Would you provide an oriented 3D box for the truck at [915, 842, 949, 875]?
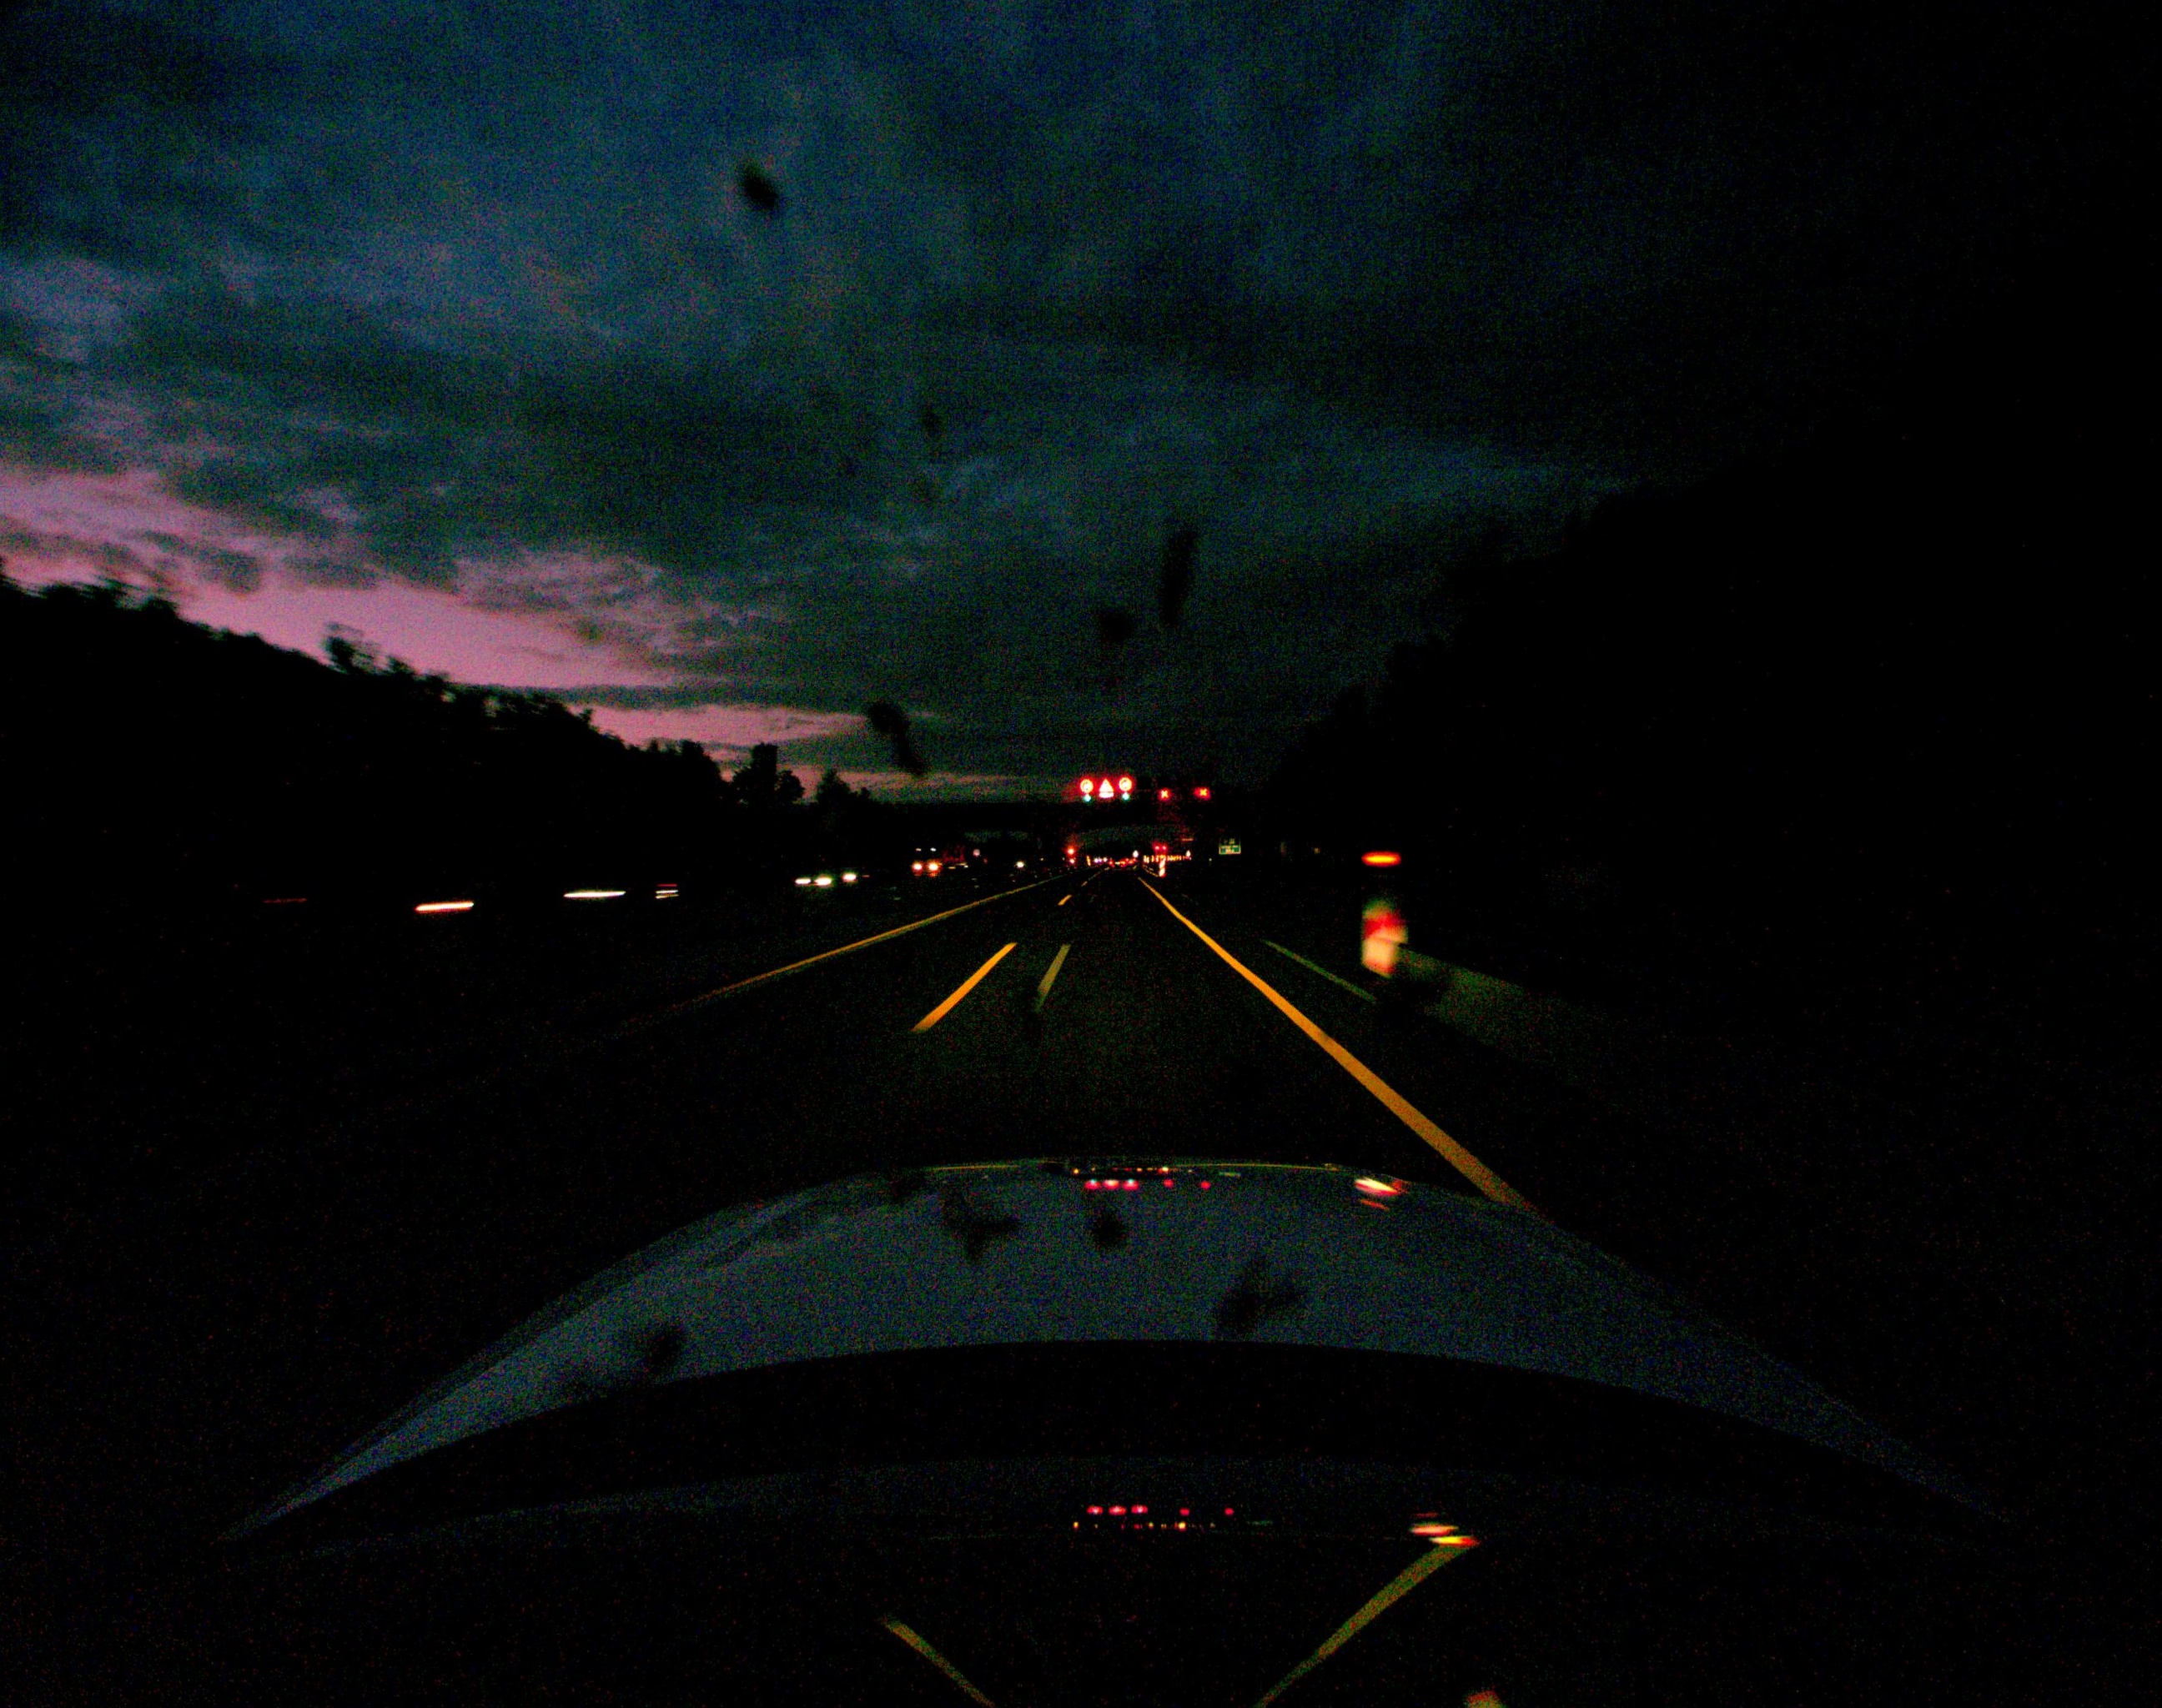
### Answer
[{"bbox_3d":[-19.648,0.581,107.887,2.764,4.171,6.394,0,-1,5],"label":"truck"}]

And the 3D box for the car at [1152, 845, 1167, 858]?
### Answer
[{"bbox_3d":[22.685,-0.708,235.695,3.591,3.396,8.018,0,-1,2],"label":"car"}]

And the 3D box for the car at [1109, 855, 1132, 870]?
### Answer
[{"bbox_3d":[4.282,0.953,88.865,2.258,1.621,4.000,0,-1,0],"label":"car"}]

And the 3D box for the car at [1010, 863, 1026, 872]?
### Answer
[{"bbox_3d":[-11.081,2.390,143.625,1.984,1.675,4.521,0,-1,5],"label":"car"}]

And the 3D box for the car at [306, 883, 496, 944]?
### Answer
[{"bbox_3d":[-21.197,1.781,25.709,1.796,1.638,4.755,0,-1,3],"label":"car"}]

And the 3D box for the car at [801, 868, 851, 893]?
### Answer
[{"bbox_3d":[-17.905,1.823,57.398,1.729,1.638,4.895,0,-1,3],"label":"car"}]

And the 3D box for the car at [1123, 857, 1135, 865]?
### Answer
[{"bbox_3d":[8.819,1.326,149.427,1.962,1.437,4.006,0,-1,6],"label":"car"}]

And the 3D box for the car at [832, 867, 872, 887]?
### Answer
[{"bbox_3d":[-19.648,1.927,70.018,1.584,1.604,5.040,0,-1,5],"label":"car"}]

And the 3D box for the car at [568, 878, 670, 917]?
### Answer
[{"bbox_3d":[-22.249,2.044,39.467,1.729,1.638,5.175,0,-1,3],"label":"car"}]

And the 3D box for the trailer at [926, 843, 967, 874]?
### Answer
[{"bbox_3d":[-18.980,0.630,115.628,2.765,4.206,12.418,0,-1,5],"label":"trailer"}]
